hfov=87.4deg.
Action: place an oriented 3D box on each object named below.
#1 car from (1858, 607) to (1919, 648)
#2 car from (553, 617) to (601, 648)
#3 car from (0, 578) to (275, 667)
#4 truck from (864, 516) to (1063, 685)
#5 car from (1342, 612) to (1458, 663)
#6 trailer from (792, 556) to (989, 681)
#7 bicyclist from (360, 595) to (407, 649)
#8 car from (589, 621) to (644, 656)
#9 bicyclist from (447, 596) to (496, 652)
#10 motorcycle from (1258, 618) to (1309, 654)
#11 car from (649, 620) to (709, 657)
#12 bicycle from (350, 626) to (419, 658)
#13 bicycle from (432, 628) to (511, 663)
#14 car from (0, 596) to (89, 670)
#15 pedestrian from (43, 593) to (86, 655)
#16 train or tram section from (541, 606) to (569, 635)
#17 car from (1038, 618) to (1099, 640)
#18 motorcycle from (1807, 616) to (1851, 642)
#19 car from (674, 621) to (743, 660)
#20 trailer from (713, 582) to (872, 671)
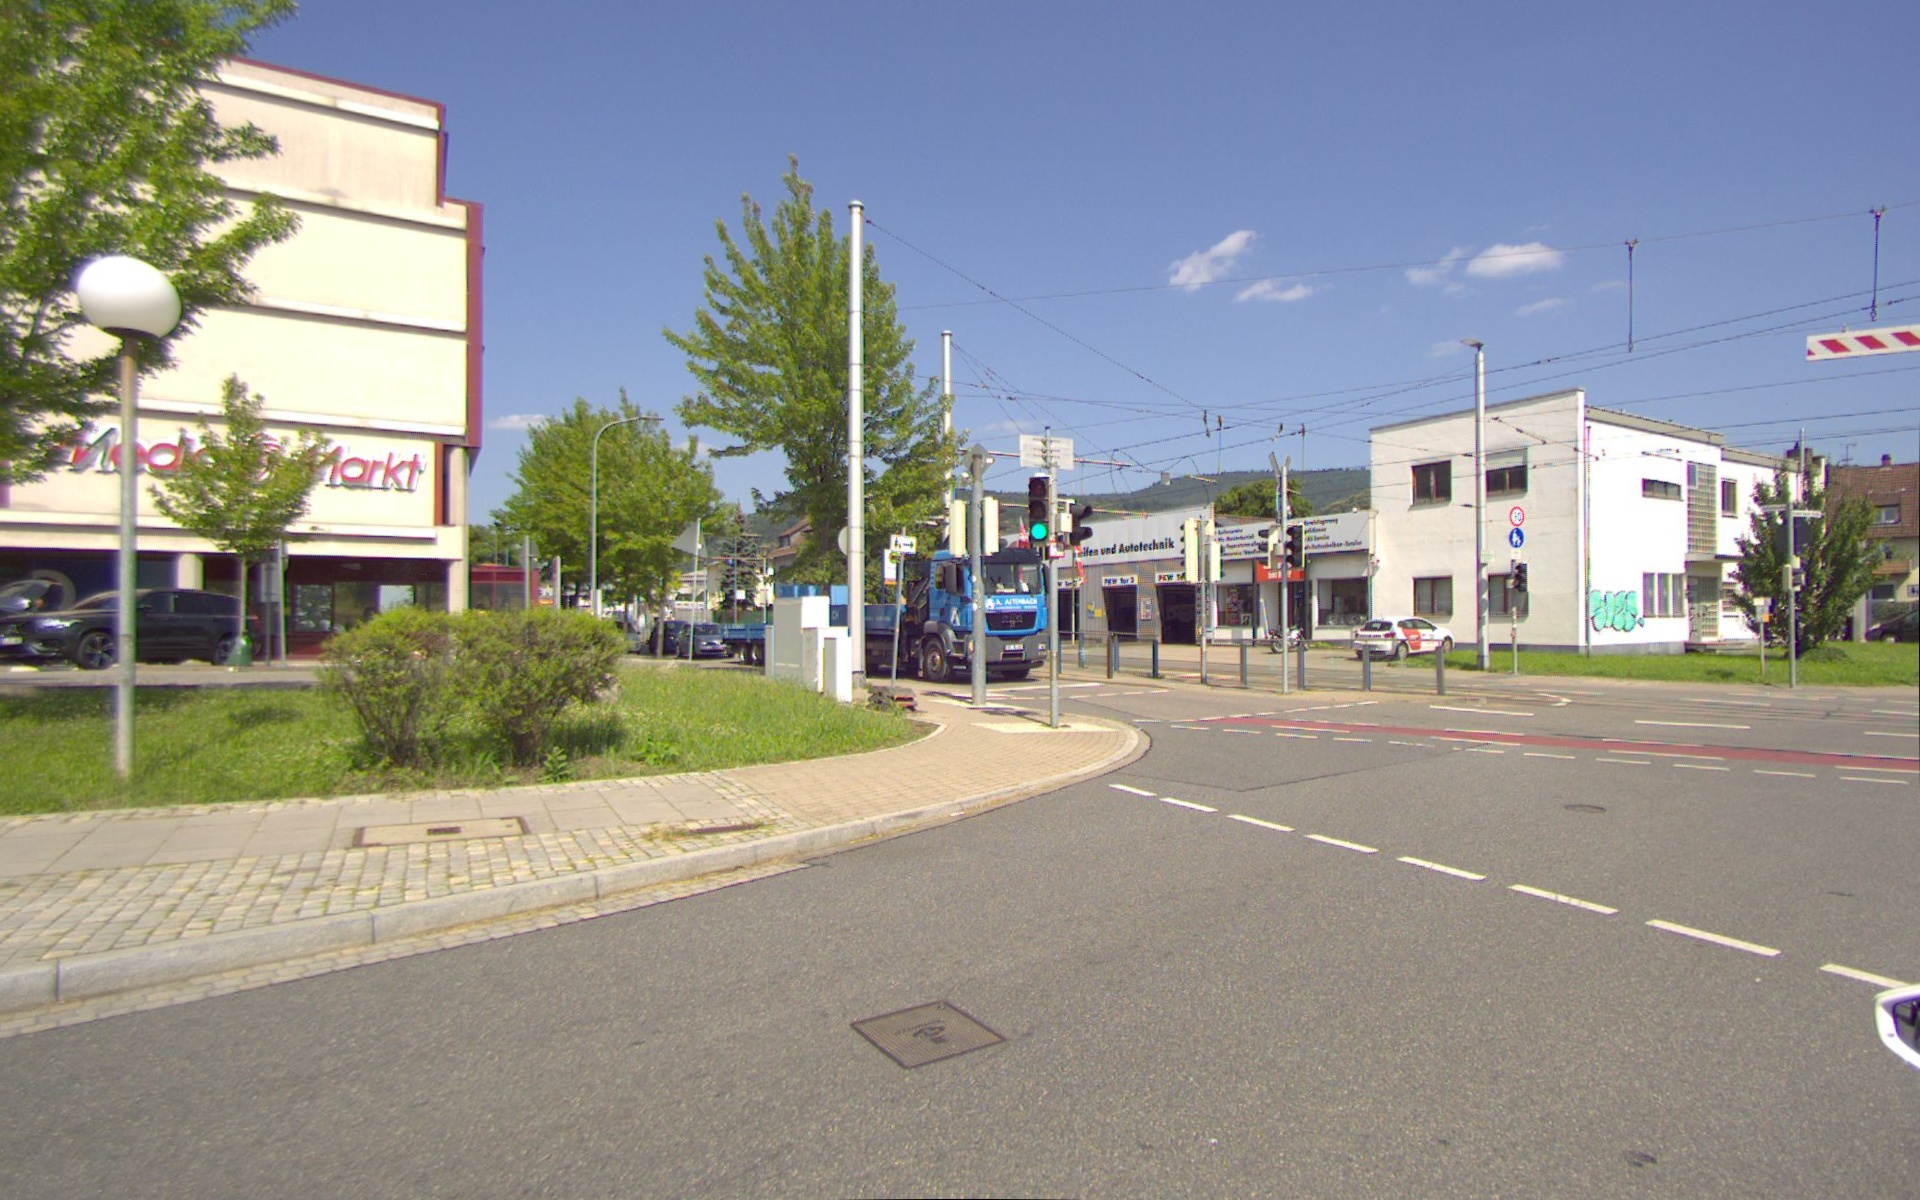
[{"bbox_3d":[44.022,1.220,45.155,1.982,1.840,5.208,1,-2,-38],"label":"car"},{"bbox_3d":[-19.647,1.624,51.467,1.745,1.539,3.970,1,-1,-29],"label":"car"},{"bbox_3d":[-17.633,0.577,21.402,2.143,1.615,5.121,-2,-4,7],"label":"car"},{"bbox_3d":[-0.066,0.046,24.529,2.721,3.656,4.998,0,-1,-31],"label":"truck"},{"bbox_3d":[15.675,1.297,35.753,3.955,1.482,1.874,-4,1,-32],"label":"car"},{"bbox_3d":[-2.154,0.490,28.028,2.721,3.017,6.841,0,-1,-31],"label":"trailer"},{"bbox_3d":[-16.278,0.617,28.379,0.905,1.467,0.722,2,0,24],"label":"bicyclist"},{"bbox_3d":[-15.666,1.713,45.705,1.707,1.482,3.874,2,-2,-29],"label":"car"},{"bbox_3d":[-13.310,0.643,27.385,0.904,1.467,0.723,2,0,5],"label":"bicyclist"},{"bbox_3d":[13.162,1.443,40.827,2.165,1.326,0.725,-3,0,-32],"label":"motorcycle"},{"bbox_3d":[-13.375,1.773,47.678,1.708,1.605,4.038,-2,0,-31],"label":"car"},{"bbox_3d":[-16.252,1.168,28.361,1.808,0.804,0.728,2,0,24],"label":"bicycle"},{"bbox_3d":[-13.306,1.240,27.383,1.806,0.860,0.729,2,0,5],"label":"bicycle"},{"bbox_3d":[-20.649,0.643,19.941,1.879,1.512,4.873,0,-2,13],"label":"car"},{"bbox_3d":[-20.223,0.543,22.690,0.511,1.374,0.463,0,-1,-2],"label":"pedestrian"},{"bbox_3d":[-51.714,2.590,128.228,2.589,3.580,5.696,0,-1,-30],"label":"train or tram section"},{"bbox_3d":[7.089,1.869,65.572,3.736,1.394,1.708,1,-1,-35],"label":"car"},{"bbox_3d":[37.882,1.278,43.778,2.541,1.046,0.846,2,-1,-35],"label":"motorcycle"},{"bbox_3d":[-10.704,1.674,42.569,1.708,1.492,4.244,-1,0,-31],"label":"car"},{"bbox_3d":[-5.903,0.843,34.191,2.774,2.663,7.536,0,-1,-31],"label":"trailer"}]
